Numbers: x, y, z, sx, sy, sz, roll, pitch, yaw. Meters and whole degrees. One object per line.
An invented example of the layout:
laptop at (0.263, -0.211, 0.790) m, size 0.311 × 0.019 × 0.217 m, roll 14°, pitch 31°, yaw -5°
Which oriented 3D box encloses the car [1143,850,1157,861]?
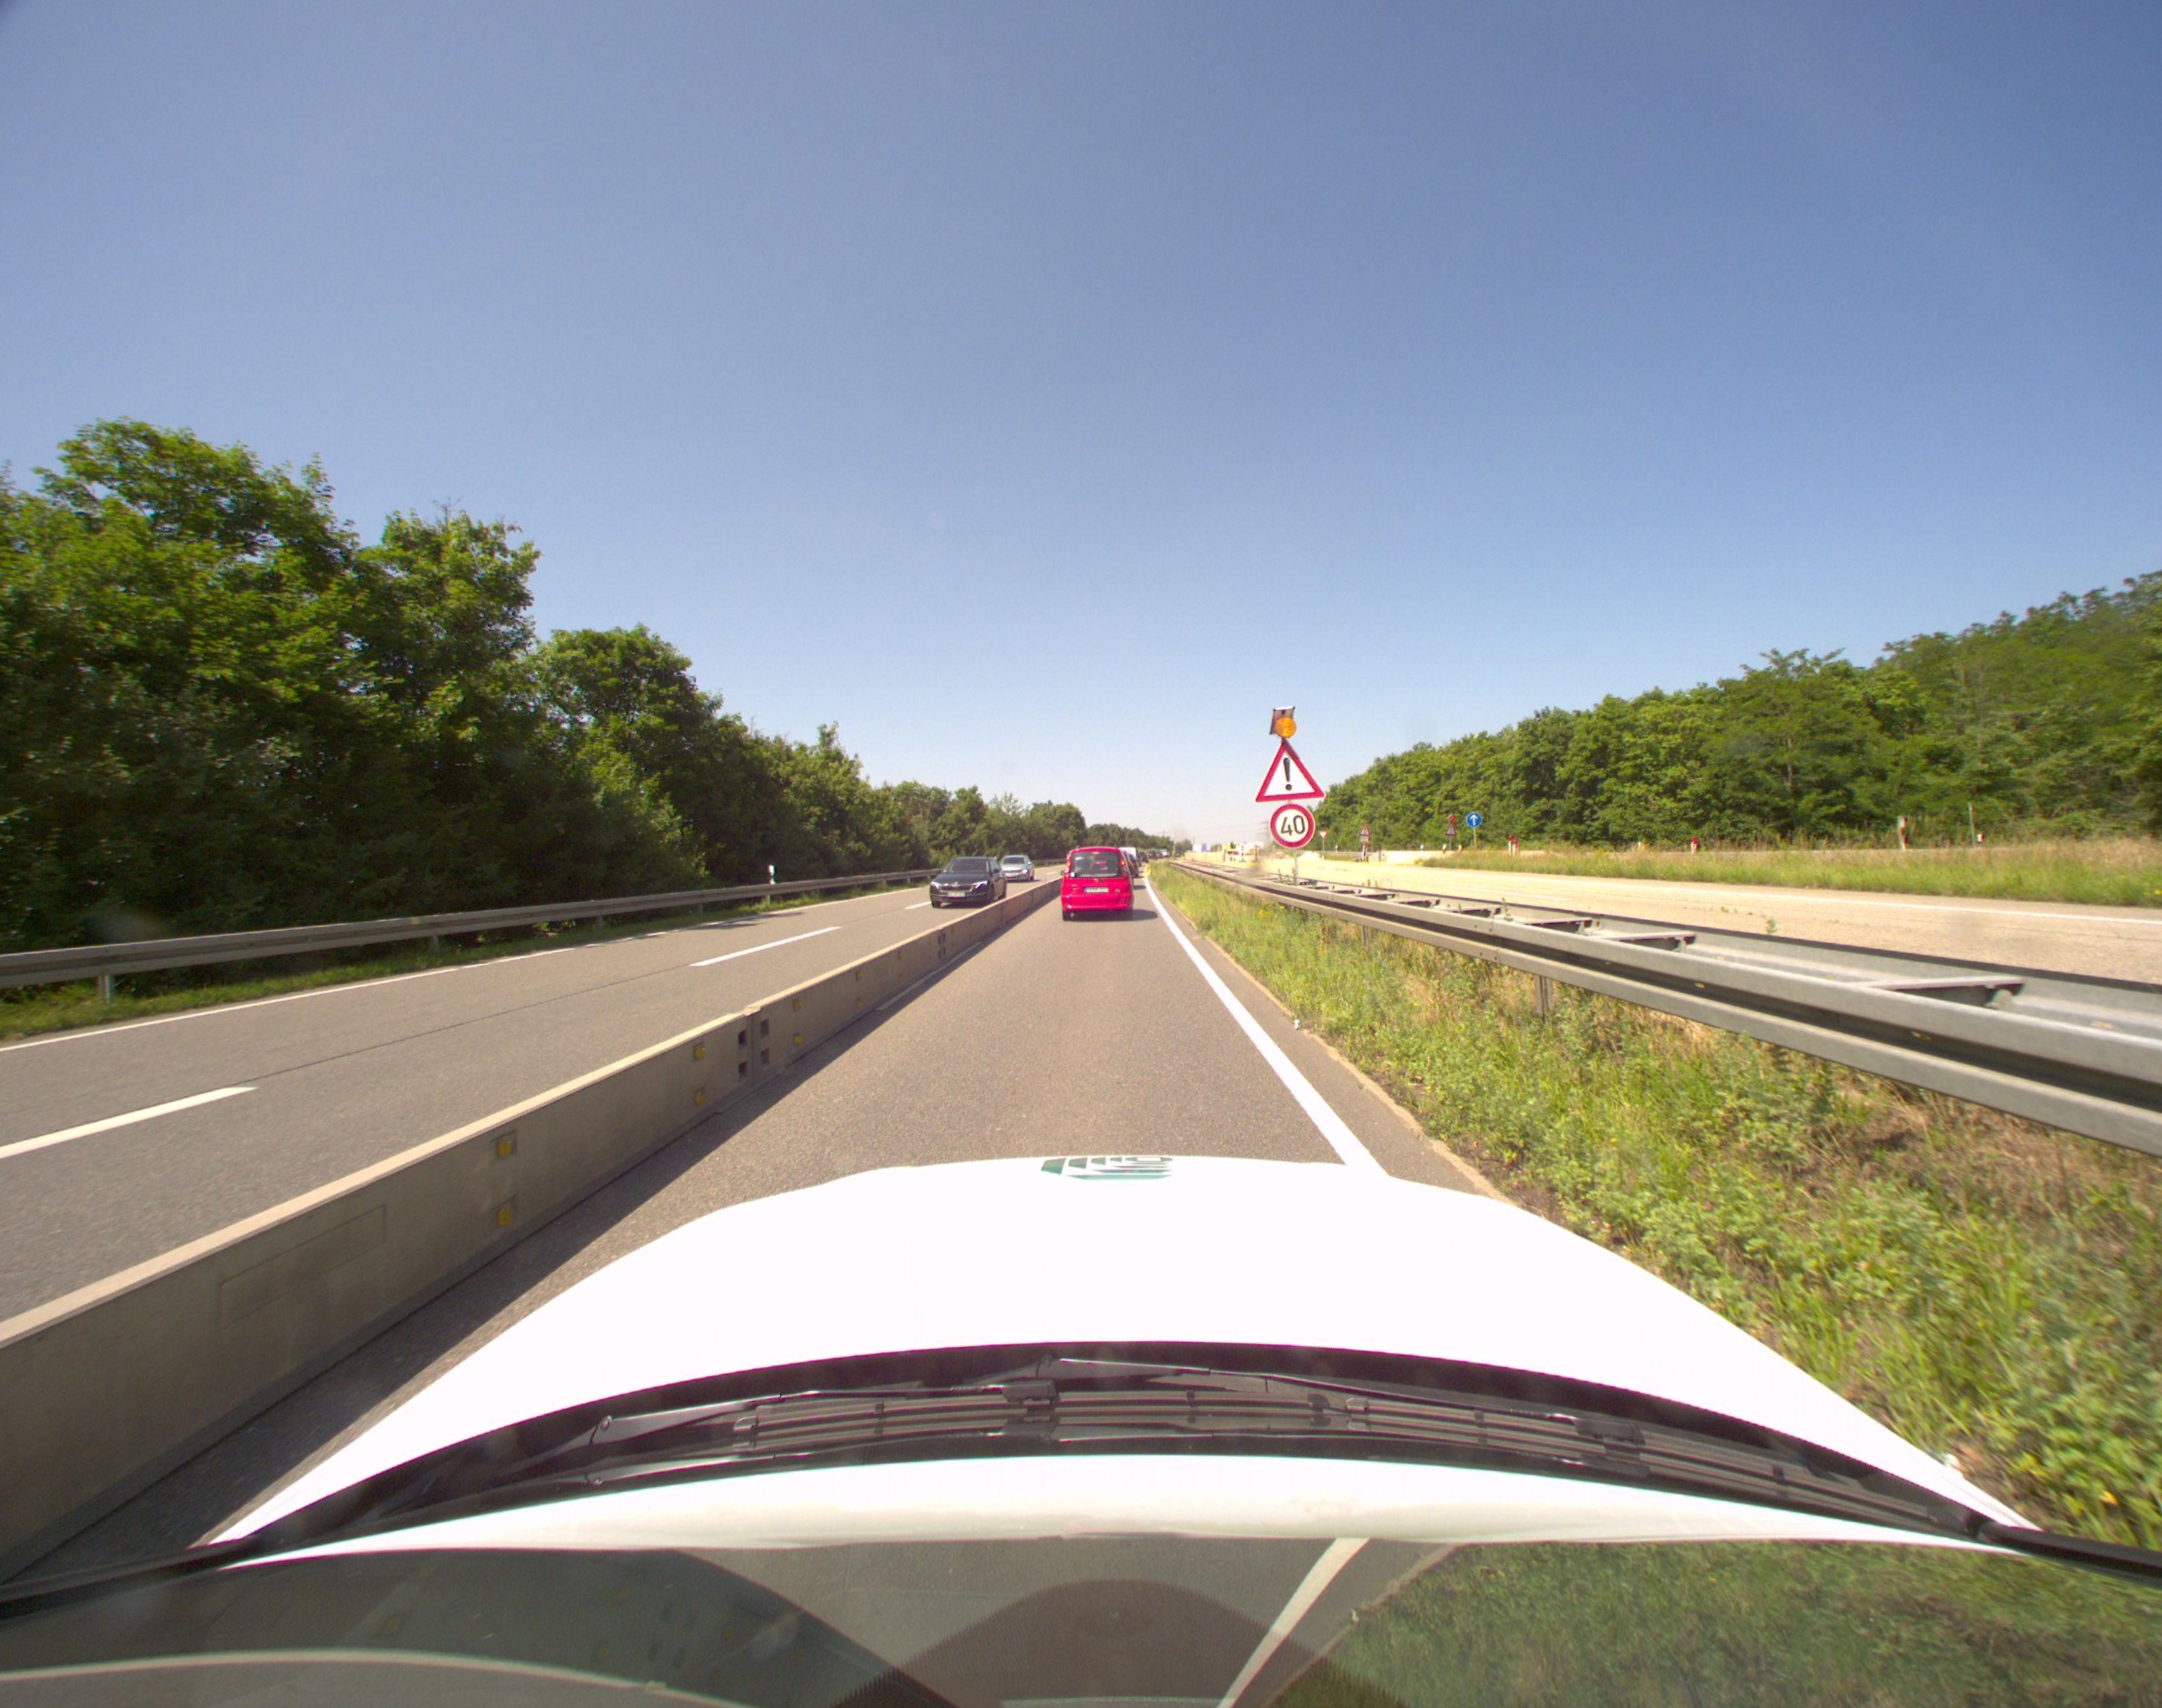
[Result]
car at (10.459, 0.177, 123.332) m, size 1.984 × 1.585 × 4.006 m, roll -1°, pitch 0°, yaw 5°

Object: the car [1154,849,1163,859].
car at (13.186, -0.031, 138.987) m, size 1.495 × 1.736 × 3.173 m, roll -2°, pitch 0°, yaw 4°

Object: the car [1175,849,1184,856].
car at (23.444, -0.380, 194.014) m, size 1.985 × 1.552 × 4.004 m, roll -1°, pitch 0°, yaw 3°

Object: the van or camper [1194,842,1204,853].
van or camper at (31.710, -1.713, 218.955) m, size 2.319 × 2.707 × 4.595 m, roll -2°, pitch 0°, yaw 1°

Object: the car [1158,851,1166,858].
car at (15.367, 0.115, 154.441) m, size 1.414 × 1.298 × 2.884 m, roll -2°, pitch 0°, yaw 6°

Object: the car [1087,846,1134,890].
car at (1.312, 0.571, 34.495) m, size 1.822 × 1.722 × 4.004 m, roll -1°, pitch 0°, yaw 4°

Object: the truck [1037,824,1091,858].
truck at (-2.888, -2.142, 139.951) m, size 8.579 × 5.375 × 3.394 m, roll -3°, pitch 0°, yaw 5°

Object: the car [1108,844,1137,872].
car at (3.016, 0.291, 60.215) m, size 1.986 × 2.003 × 4.001 m, roll -1°, pitch 0°, yaw 1°

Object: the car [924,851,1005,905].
car at (-3.475, 0.671, 25.101) m, size 1.816 × 1.482 × 4.256 m, roll -2°, pitch 0°, yaw 0°

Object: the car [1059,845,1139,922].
car at (0.473, 0.658, 19.975) m, size 1.745 × 1.673 × 4.002 m, roll -1°, pitch 0°, yaw 2°

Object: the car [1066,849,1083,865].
car at (-0.690, 0.298, 95.241) m, size 1.749 × 1.765 × 4.286 m, roll -3°, pitch 0°, yaw 2°

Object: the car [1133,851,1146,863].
car at (7.058, 0.369, 98.518) m, size 1.495 × 1.450 × 3.328 m, roll -1°, pitch 0°, yaw 4°

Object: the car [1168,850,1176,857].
car at (19.109, -0.126, 170.649) m, size 1.494 × 1.450 × 3.175 m, roll -2°, pitch 0°, yaw 6°

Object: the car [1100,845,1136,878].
car at (2.235, 0.417, 48.208) m, size 1.985 × 1.838 × 4.004 m, roll -1°, pitch 0°, yaw 4°

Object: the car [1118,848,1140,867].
car at (4.608, 0.300, 77.934) m, size 1.985 × 1.750 × 4.003 m, roll -2°, pitch 0°, yaw 3°

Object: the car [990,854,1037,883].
car at (-3.619, 0.739, 44.616) m, size 1.941 × 1.421 × 4.356 m, roll -2°, pitch 0°, yaw 3°
